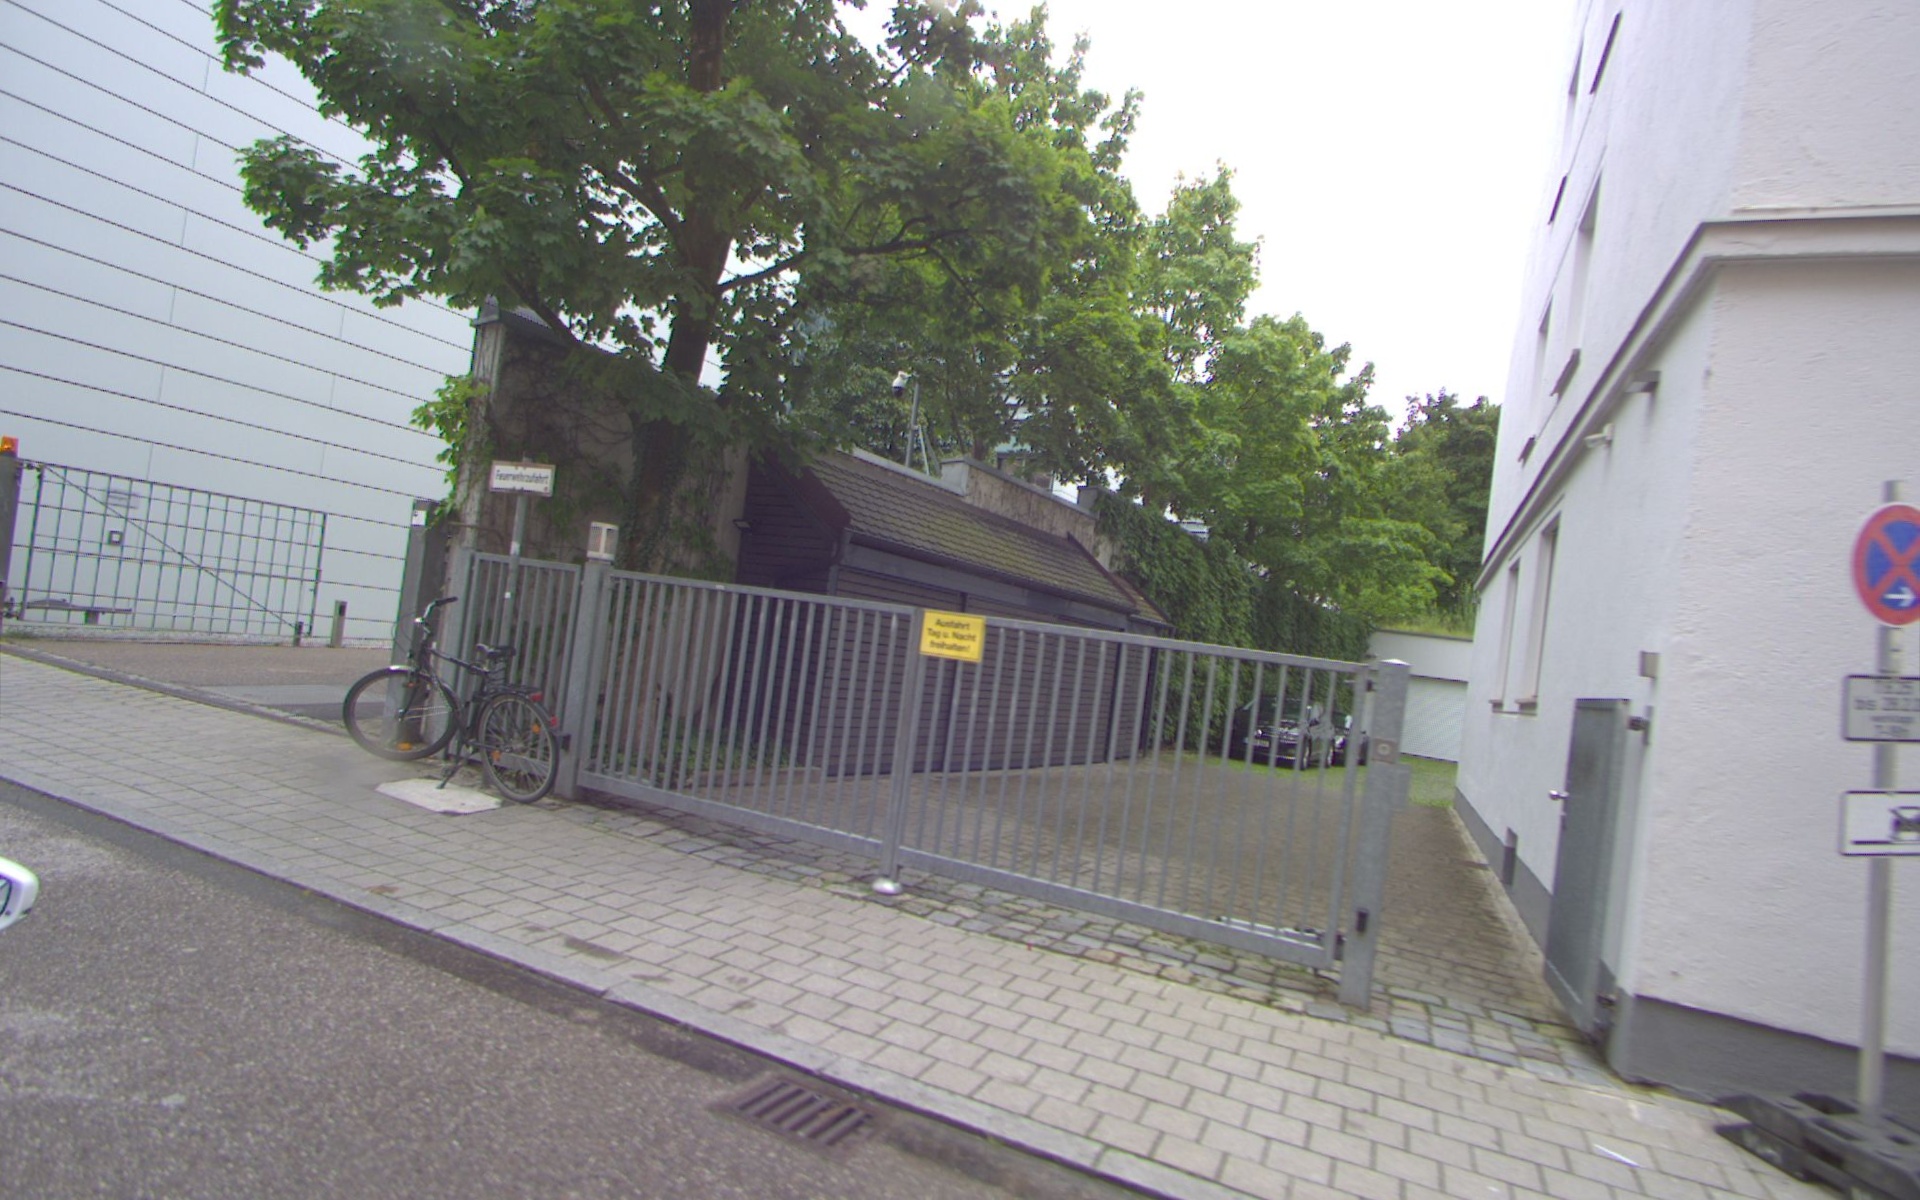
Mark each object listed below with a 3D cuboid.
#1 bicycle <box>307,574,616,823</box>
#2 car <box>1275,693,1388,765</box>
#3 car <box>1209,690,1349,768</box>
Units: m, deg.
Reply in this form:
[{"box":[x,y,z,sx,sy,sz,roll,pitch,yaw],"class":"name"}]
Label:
[{"box":[-3.288,0.602,6.614,1.801,1.212,0.710,10,0,25],"class":"bicycle"},{"box":[9.477,3.269,25.463,1.677,1.446,3.994,6,-3,34],"class":"car"},{"box":[6.802,2.718,21.178,1.669,1.248,3.994,6,-3,34],"class":"car"}]
